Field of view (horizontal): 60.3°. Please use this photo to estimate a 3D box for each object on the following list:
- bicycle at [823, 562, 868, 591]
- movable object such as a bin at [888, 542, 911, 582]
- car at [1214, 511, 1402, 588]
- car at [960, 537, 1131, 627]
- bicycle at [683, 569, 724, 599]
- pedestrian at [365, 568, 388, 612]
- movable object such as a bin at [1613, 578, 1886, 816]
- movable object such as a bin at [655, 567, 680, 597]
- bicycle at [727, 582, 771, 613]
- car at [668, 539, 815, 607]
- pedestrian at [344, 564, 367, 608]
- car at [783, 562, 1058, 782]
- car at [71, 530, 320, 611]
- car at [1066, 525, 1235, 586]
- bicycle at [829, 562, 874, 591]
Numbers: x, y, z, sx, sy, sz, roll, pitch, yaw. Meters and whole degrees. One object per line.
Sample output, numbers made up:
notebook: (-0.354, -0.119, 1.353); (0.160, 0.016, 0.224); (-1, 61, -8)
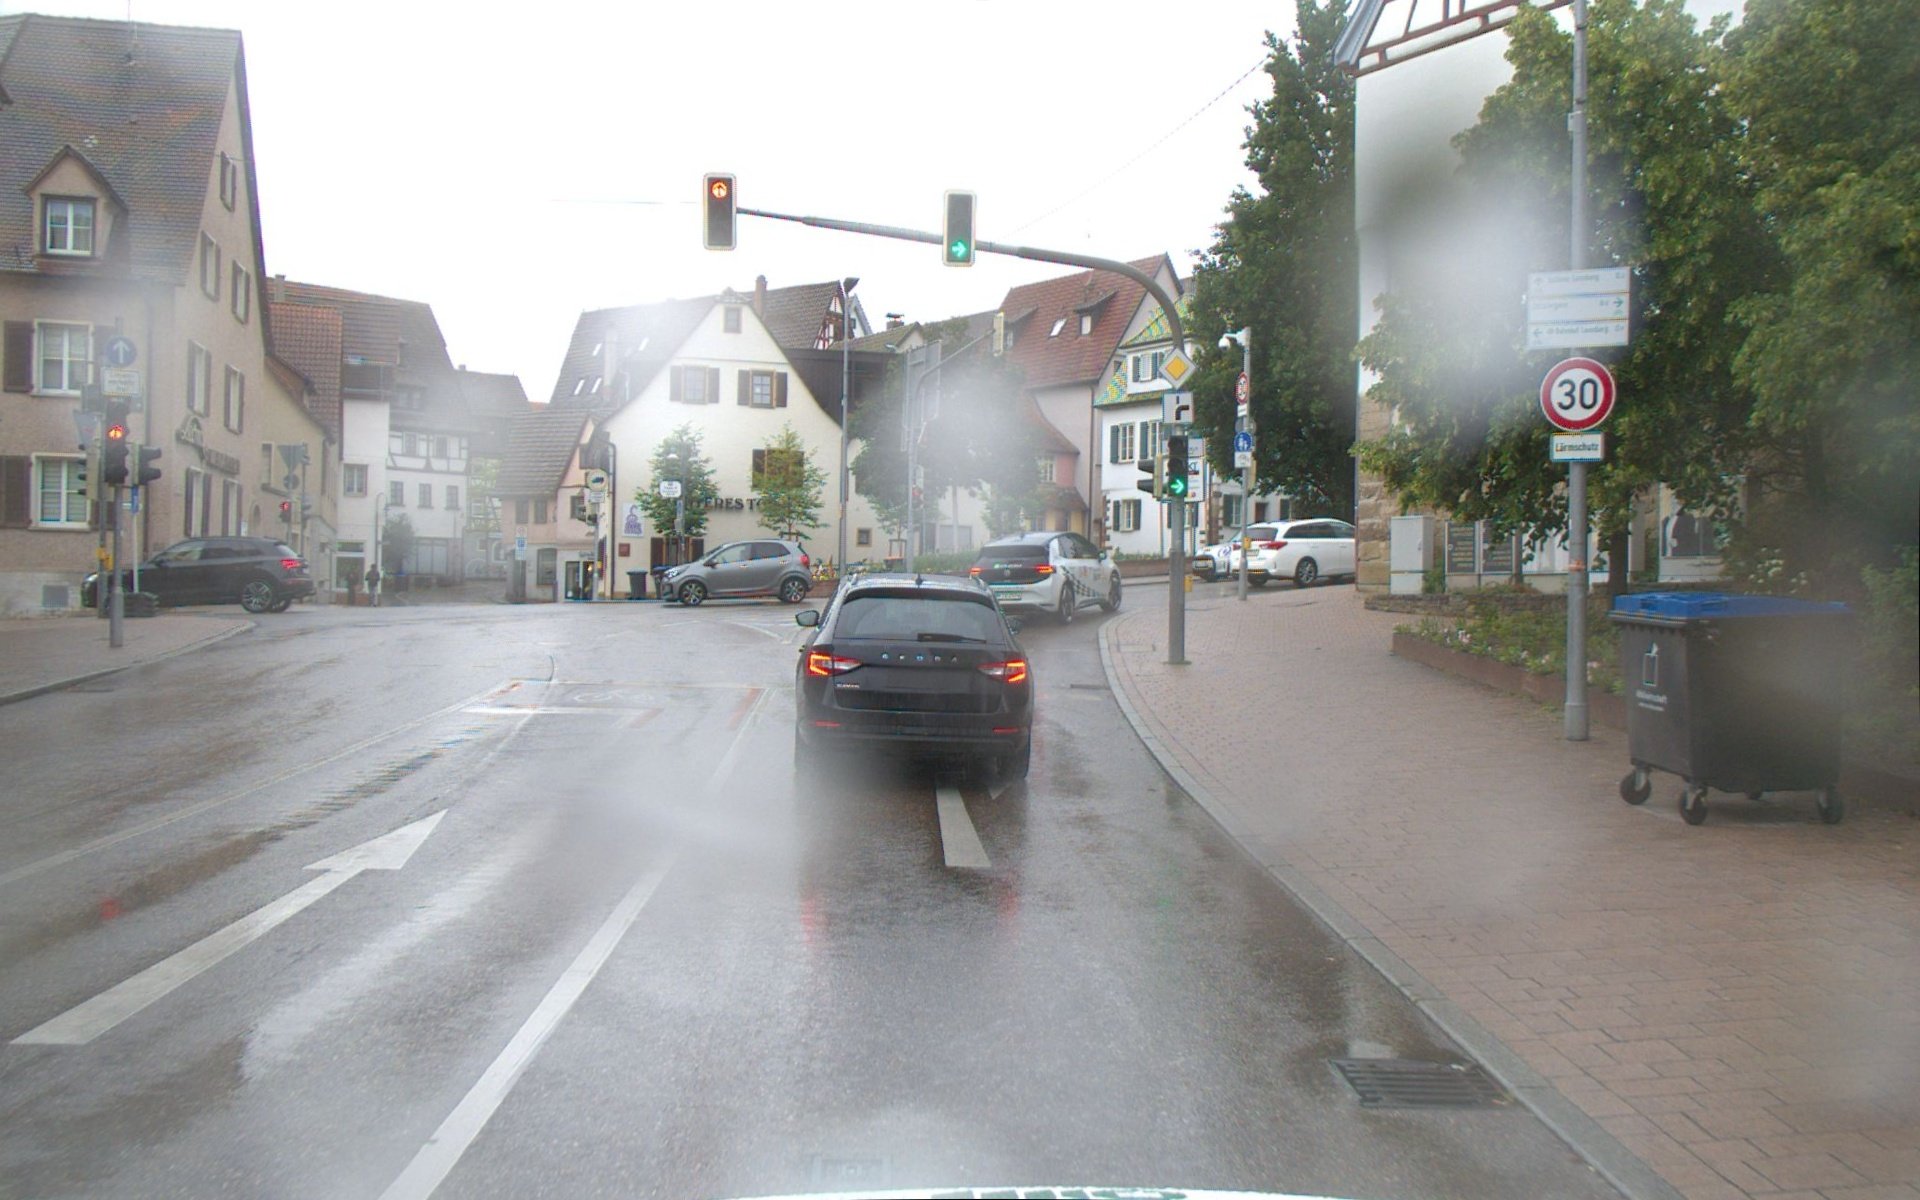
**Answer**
bicycle: (-3.720, -0.769, 53.901); (1.453, 0.927, 0.388); (-1, 4, -35)
movable object such as a bin: (-2.023, -1.282, 55.319); (0.670, 1.298, 0.747); (2, 1, -8)
car: (8.052, -1.137, 38.133); (4.276, 1.624, 1.868); (1, 0, -35)
car: (1.614, -0.317, 29.852); (1.819, 1.498, 3.999); (1, 1, 23)
bicycle: (-7.818, -0.492, 50.402); (0.331, 0.832, 1.432); (4, 4, 34)
pedestrian: (-23.904, -0.414, 67.735); (0.766, 1.762, 0.629); (-1, 2, -14)
movable object such as a bin: (4.729, 0.546, 10.015); (1.130, 1.336, 1.187); (1, 0, 4)
movable object such as a bin: (-9.082, -0.553, 51.297); (0.581, 0.917, 0.577); (0, 1, -33)
bicycle: (-6.570, -0.070, 51.594); (0.386, 0.928, 1.460); (1, 0, 43)
car: (-5.137, -0.629, 38.747); (3.319, 1.503, 1.531); (1, 0, -12)
pedestrian: (-24.684, -0.586, 67.510); (0.766, 1.762, 0.629); (-1, 2, -14)
car: (-0.342, 0.472, 13.441); (1.849, 1.473, 4.355); (1, 1, -2)
car: (-16.402, -0.609, 35.749); (4.662, 1.616, 1.820); (1, 0, -19)
car: (4.918, -1.142, 42.864); (3.917, 1.456, 1.994); (1, 0, -13)
bicycle: (-3.516, -0.768, 53.532); (1.453, 0.927, 0.388); (-1, 4, -35)
